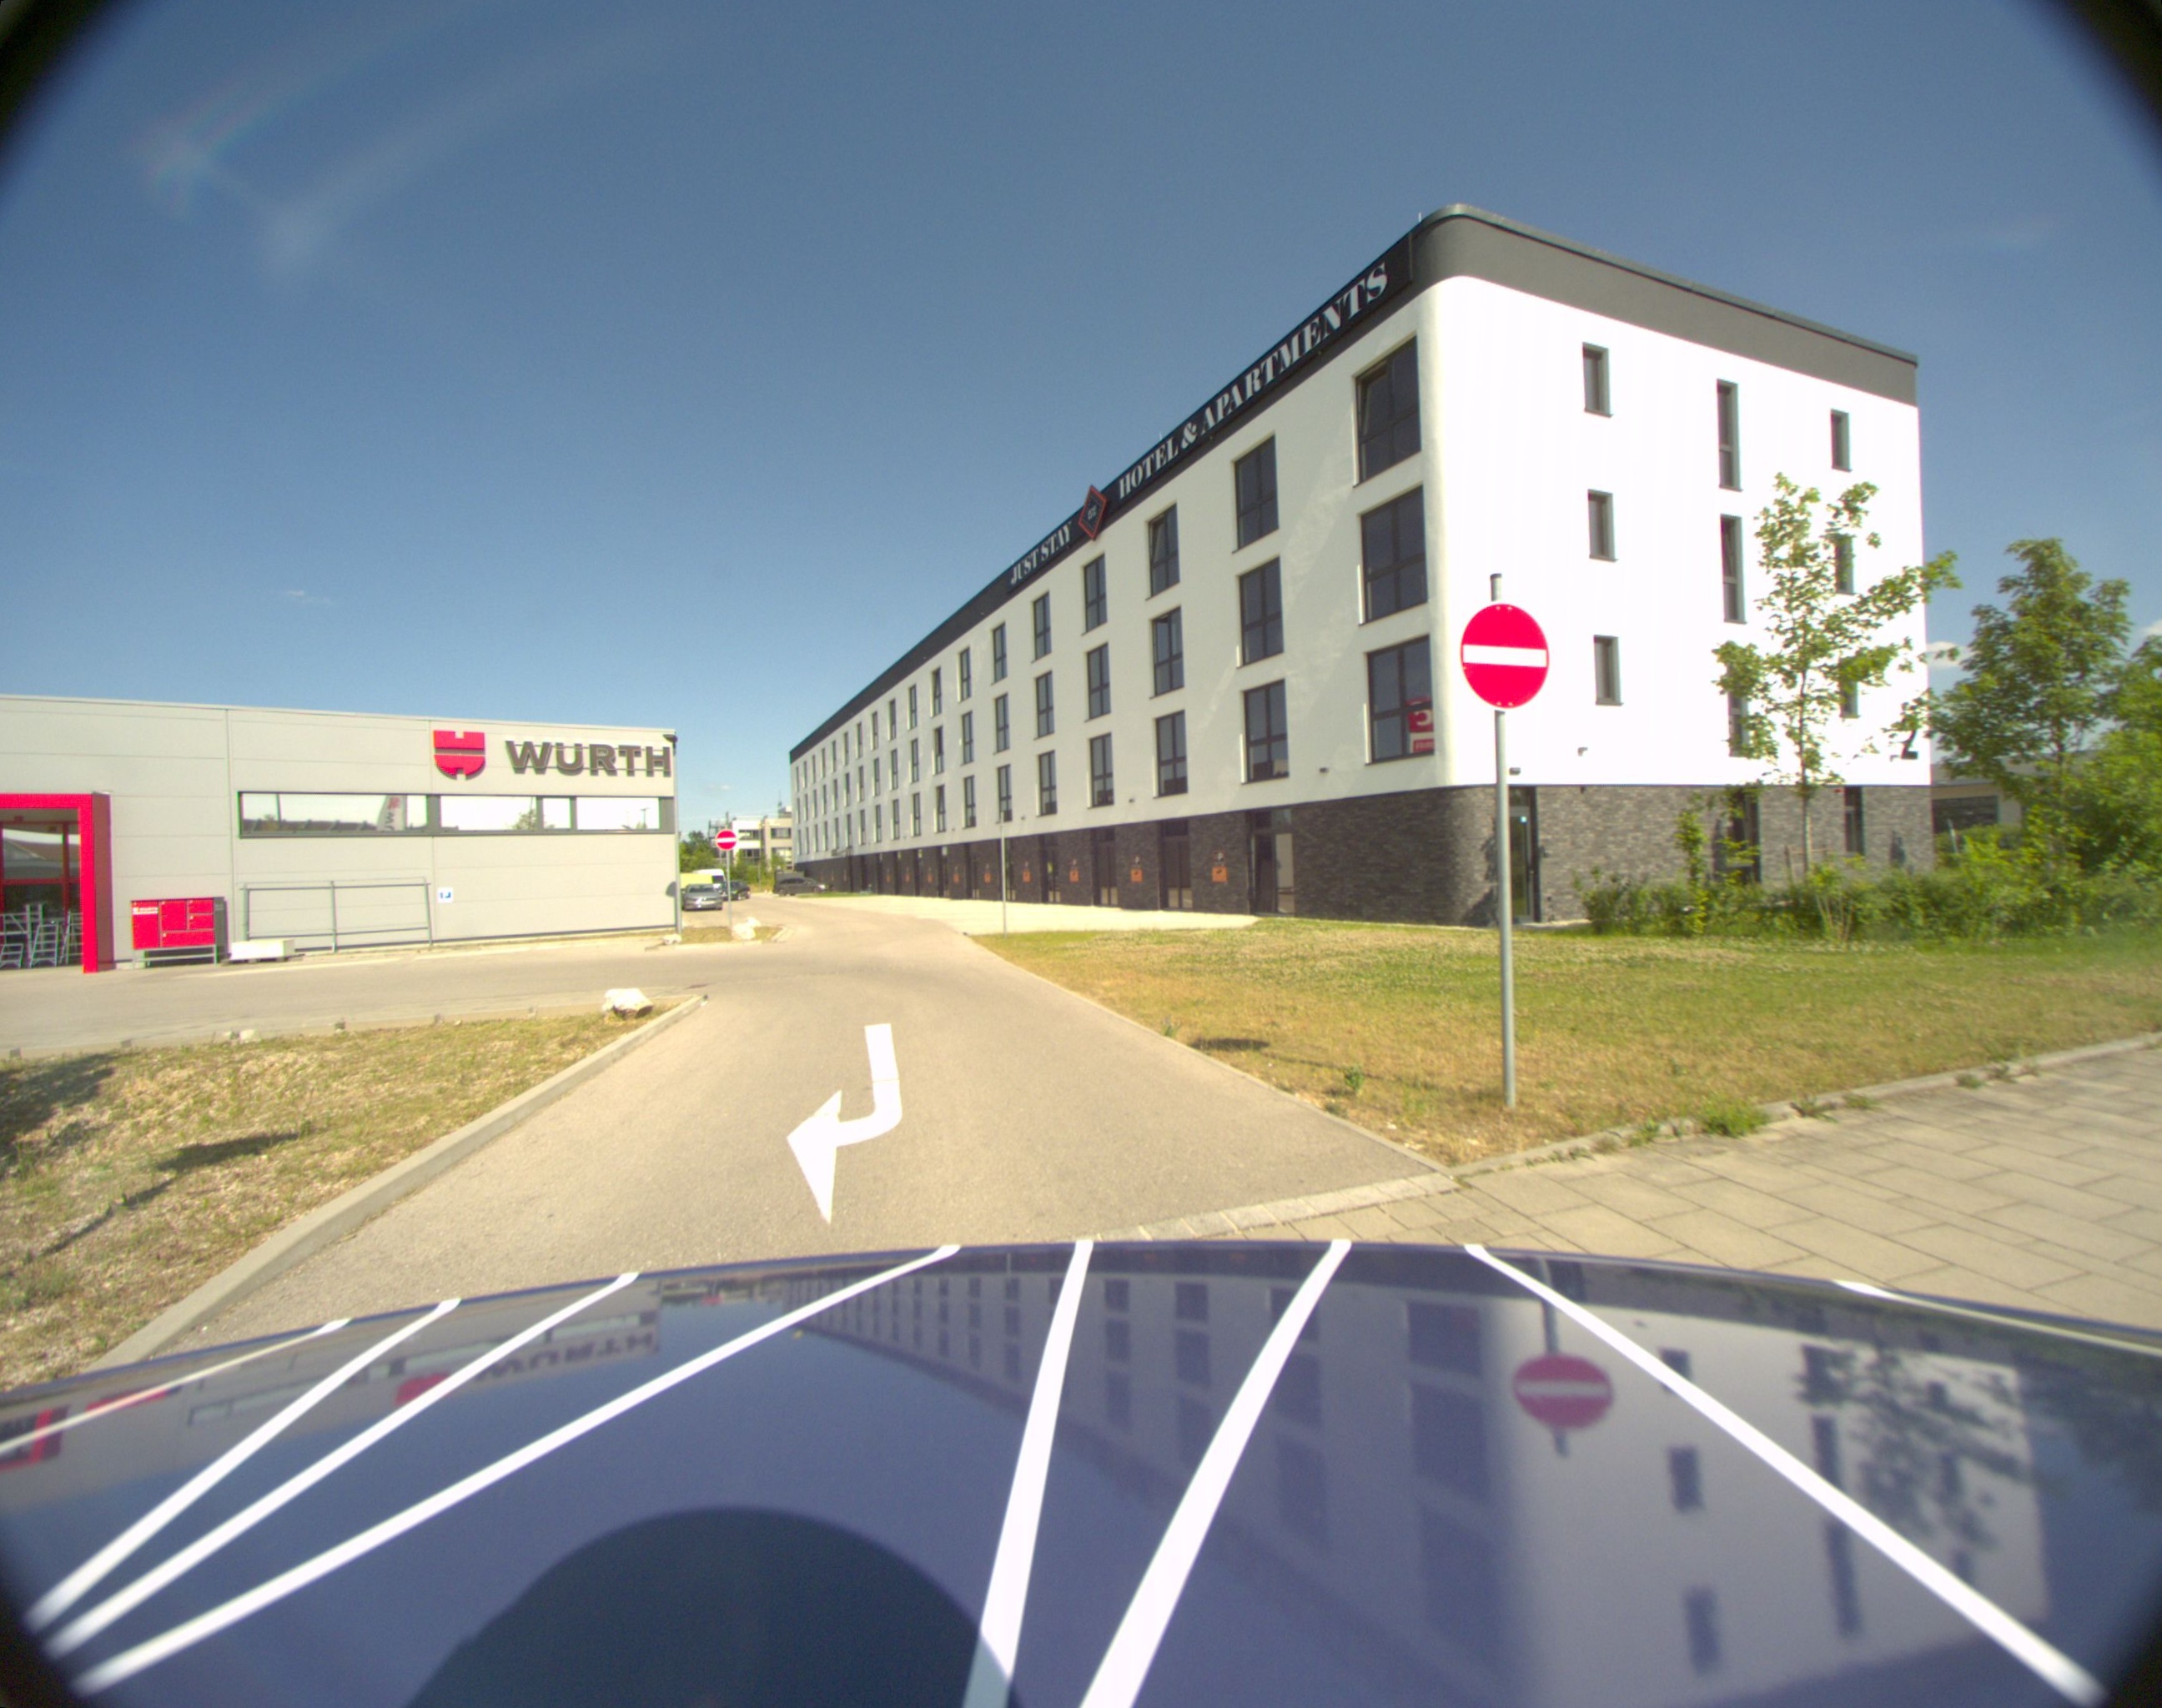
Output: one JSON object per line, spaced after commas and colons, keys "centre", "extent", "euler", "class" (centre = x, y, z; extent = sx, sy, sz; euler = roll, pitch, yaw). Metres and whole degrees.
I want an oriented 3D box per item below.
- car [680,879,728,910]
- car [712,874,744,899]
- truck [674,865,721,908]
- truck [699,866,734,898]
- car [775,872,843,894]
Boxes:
{"centre": [-20.525, 2.177, 41.274], "extent": [1.882, 1.499, 3.991], "euler": [-3, 0, -32], "class": "car"}
{"centre": [-25.813, 2.362, 55.518], "extent": [1.721, 1.608, 3.991], "euler": [-3, 1, -29], "class": "car"}
{"centre": [-23.808, 1.978, 47.075], "extent": [2.127, 2.362, 5.877], "euler": [-3, 0, -30], "class": "truck"}
{"centre": [-29.844, 2.258, 62.131], "extent": [2.003, 2.362, 5.877], "euler": [-3, 0, -30], "class": "truck"}
{"centre": [-21.320, 2.250, 59.635], "extent": [4.520, 1.499, 1.880], "euler": [-3, 0, 6], "class": "car"}
